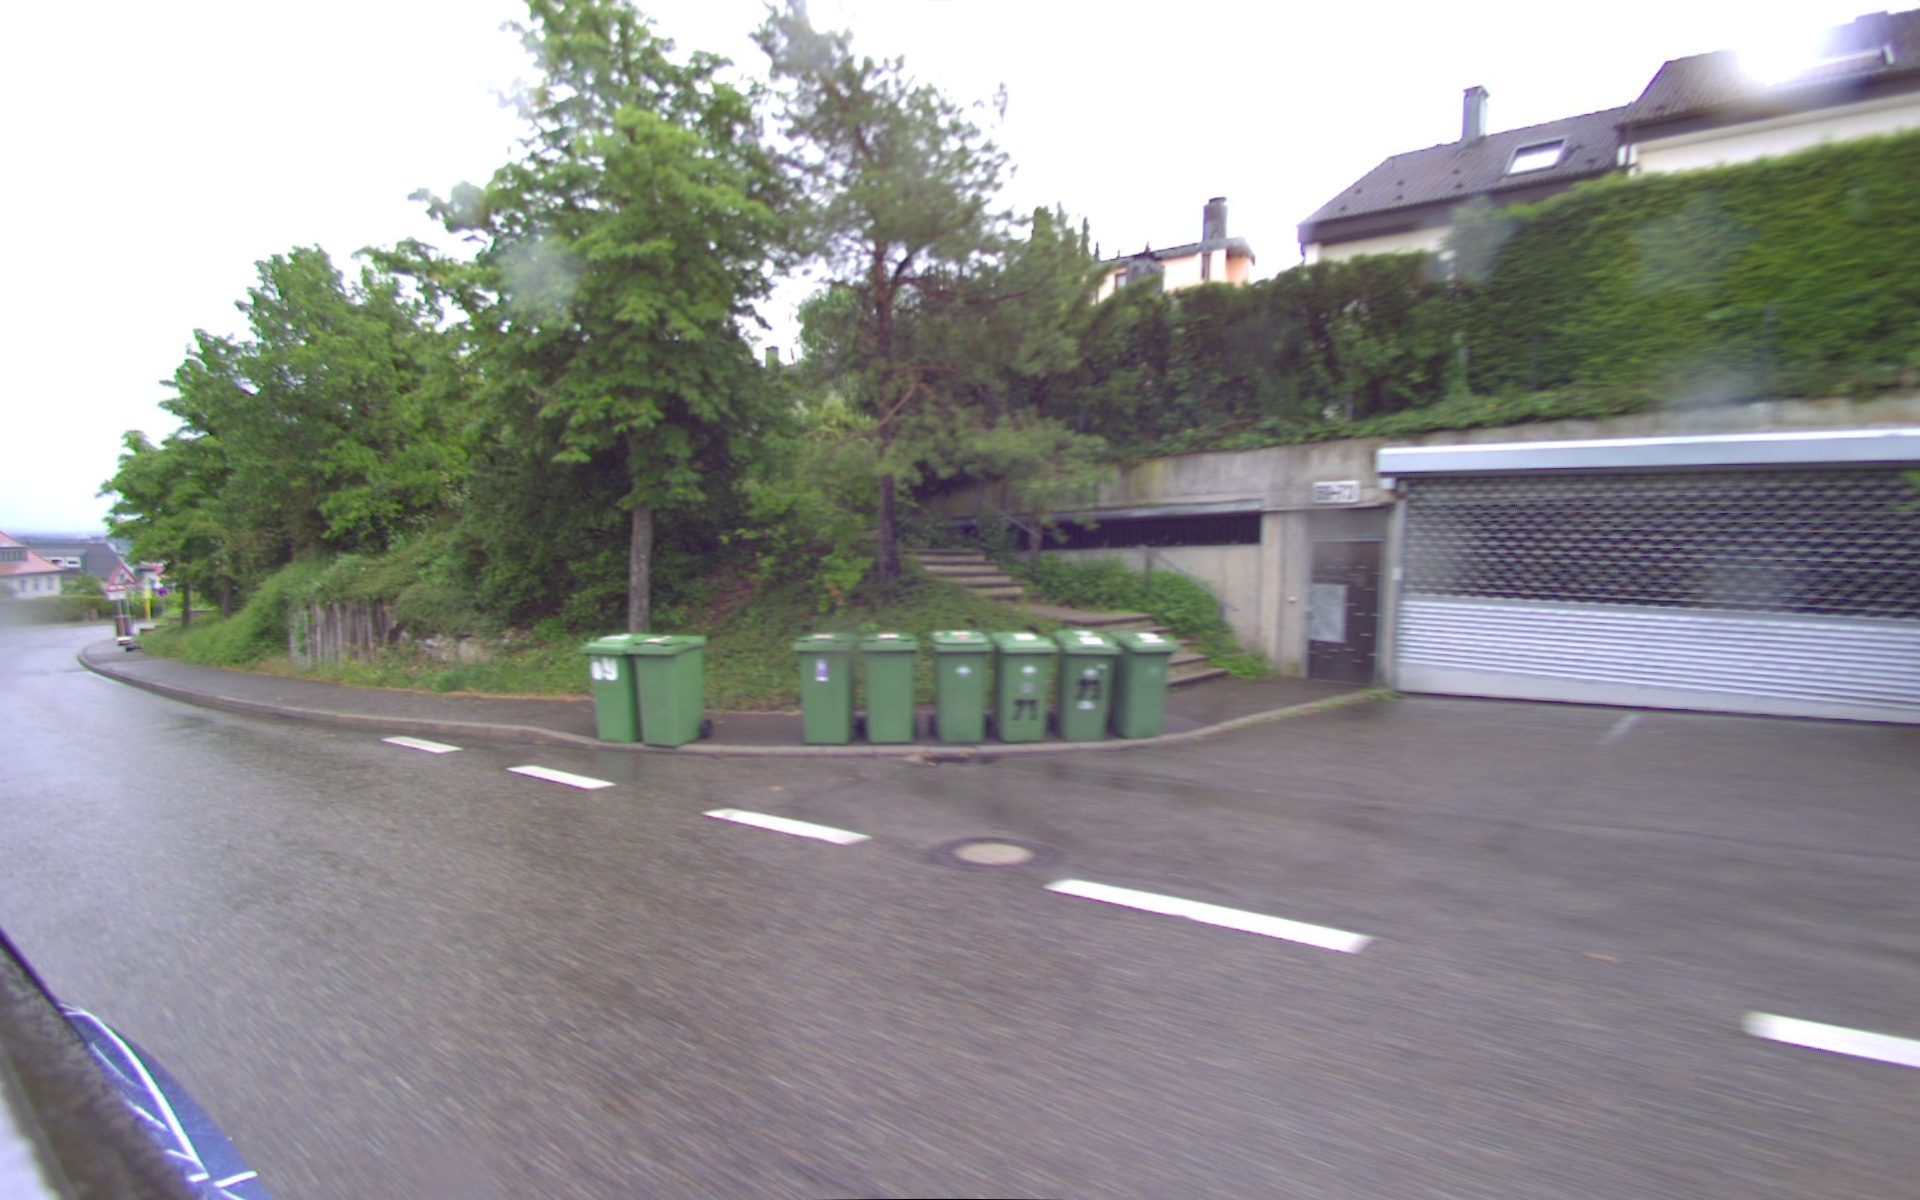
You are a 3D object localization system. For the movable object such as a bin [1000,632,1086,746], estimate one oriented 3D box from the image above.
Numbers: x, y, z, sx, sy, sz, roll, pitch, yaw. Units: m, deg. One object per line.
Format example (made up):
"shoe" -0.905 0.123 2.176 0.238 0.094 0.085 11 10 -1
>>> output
"movable object such as a bin" 0.827 0.881 10.270 0.708 1.035 0.781 -2 2 -6

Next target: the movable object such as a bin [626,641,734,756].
"movable object such as a bin" -2.789 0.961 10.127 0.713 1.035 0.776 -1 2 17

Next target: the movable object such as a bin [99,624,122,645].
"movable object such as a bin" -42.675 1.734 50.855 0.868 1.038 0.804 0 -1 -39

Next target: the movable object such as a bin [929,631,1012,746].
"movable object such as a bin" 0.093 0.865 10.201 0.708 1.035 0.781 -2 2 -6

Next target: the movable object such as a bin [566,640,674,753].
"movable object such as a bin" -3.476 0.968 10.393 0.713 1.035 0.776 -1 2 17

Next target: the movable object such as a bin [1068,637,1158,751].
"movable object such as a bin" 1.548 0.937 10.331 0.708 1.035 0.781 -2 2 -6

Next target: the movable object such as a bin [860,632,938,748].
"movable object such as a bin" -0.627 0.881 10.135 0.708 1.035 0.781 -2 2 -6

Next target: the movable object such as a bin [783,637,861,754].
"movable object such as a bin" -1.358 0.925 10.063 0.708 1.035 0.781 -2 2 -6
